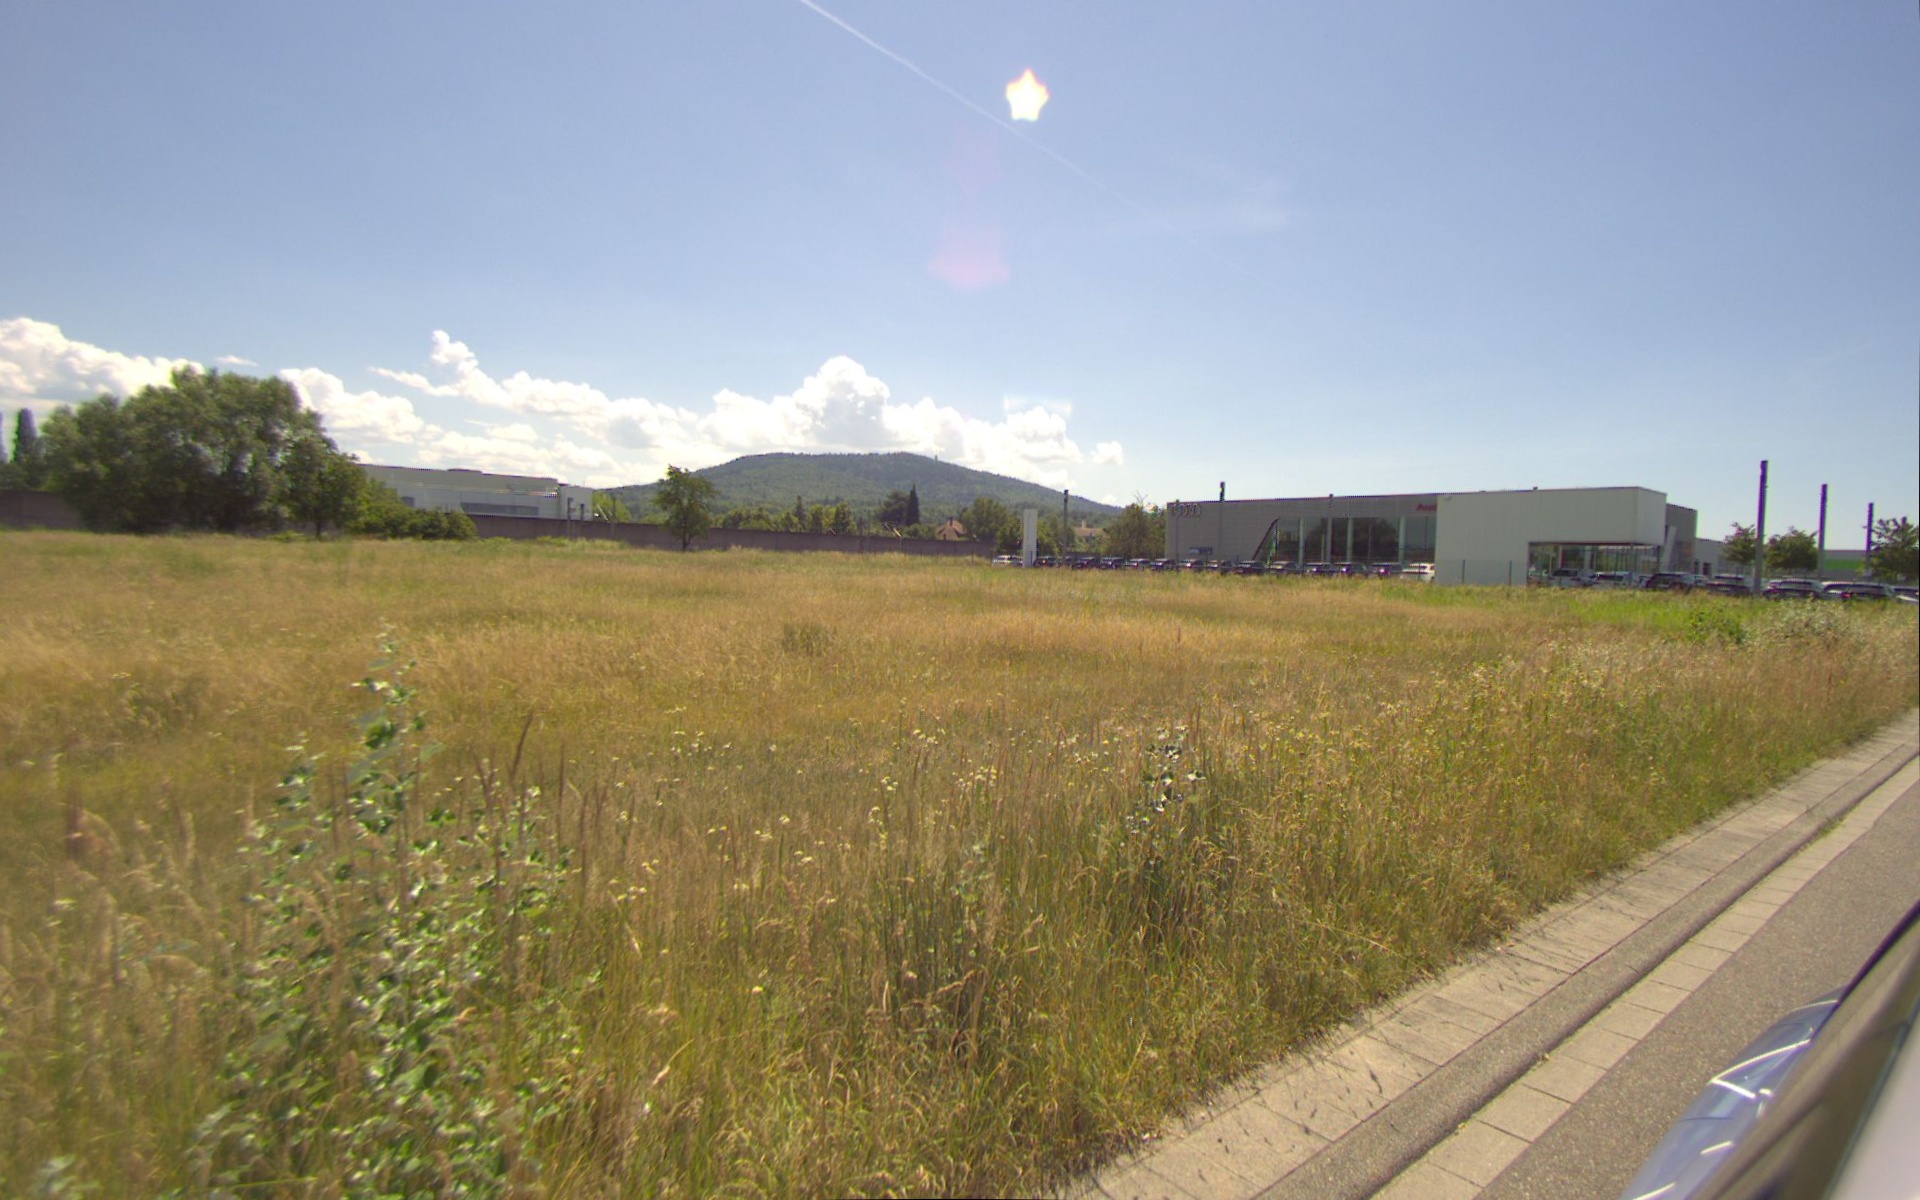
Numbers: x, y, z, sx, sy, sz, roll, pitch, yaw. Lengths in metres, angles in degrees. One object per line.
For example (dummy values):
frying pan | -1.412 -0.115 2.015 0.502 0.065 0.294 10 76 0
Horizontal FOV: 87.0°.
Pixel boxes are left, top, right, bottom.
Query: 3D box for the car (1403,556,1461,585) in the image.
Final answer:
car | 30.967 -1.923 66.354 3.930 1.807 1.998 0 3 -41

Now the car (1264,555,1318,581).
car | 24.397 -2.336 74.502 3.930 1.807 1.998 0 3 -41

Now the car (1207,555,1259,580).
car | 21.150 -2.529 78.309 3.930 1.807 1.998 0 3 -41

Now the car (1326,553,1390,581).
car | 27.761 -2.314 70.588 4.722 1.746 2.030 0 4 -39

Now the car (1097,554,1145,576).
car | 13.896 -2.996 87.503 3.930 1.807 1.998 0 3 -41

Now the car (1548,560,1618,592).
car | 37.016 -1.412 60.088 4.722 1.674 2.030 0 4 -39

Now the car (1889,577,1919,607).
car | 54.048 -0.405 56.880 4.695 1.592 2.030 0 4 -40

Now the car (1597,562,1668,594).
car | 38.638 -1.265 58.114 4.722 1.674 2.030 0 4 -39

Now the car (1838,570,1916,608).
car | 45.277 -0.538 49.942 5.016 1.713 2.030 0 4 -39

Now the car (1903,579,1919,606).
car | 58.142 -0.388 60.422 5.147 1.532 2.030 0 5 -40

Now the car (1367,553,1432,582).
car | 29.834 -2.194 68.589 4.722 1.746 2.030 0 4 -39

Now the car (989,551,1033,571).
car | 4.946 -3.736 97.949 3.930 1.807 1.998 0 3 -41

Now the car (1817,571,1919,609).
car | 47.906 -0.532 52.767 1.995 1.713 4.541 0 4 -39

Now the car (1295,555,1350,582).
car | 26.001 -2.243 72.457 3.930 1.807 1.998 0 3 -41

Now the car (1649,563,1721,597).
car | 40.049 -1.108 55.862 4.722 1.700 2.030 0 4 -39

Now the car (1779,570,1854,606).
car | 43.700 -0.611 51.621 4.722 1.630 2.030 0 4 -39

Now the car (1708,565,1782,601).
car | 41.768 -0.895 53.829 4.722 1.746 2.030 0 4 -39

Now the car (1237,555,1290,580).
car | 22.883 -2.428 76.368 3.930 1.807 1.998 0 3 -41

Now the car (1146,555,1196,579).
car | 17.383 -2.716 83.173 3.930 1.807 1.998 0 3 -41
